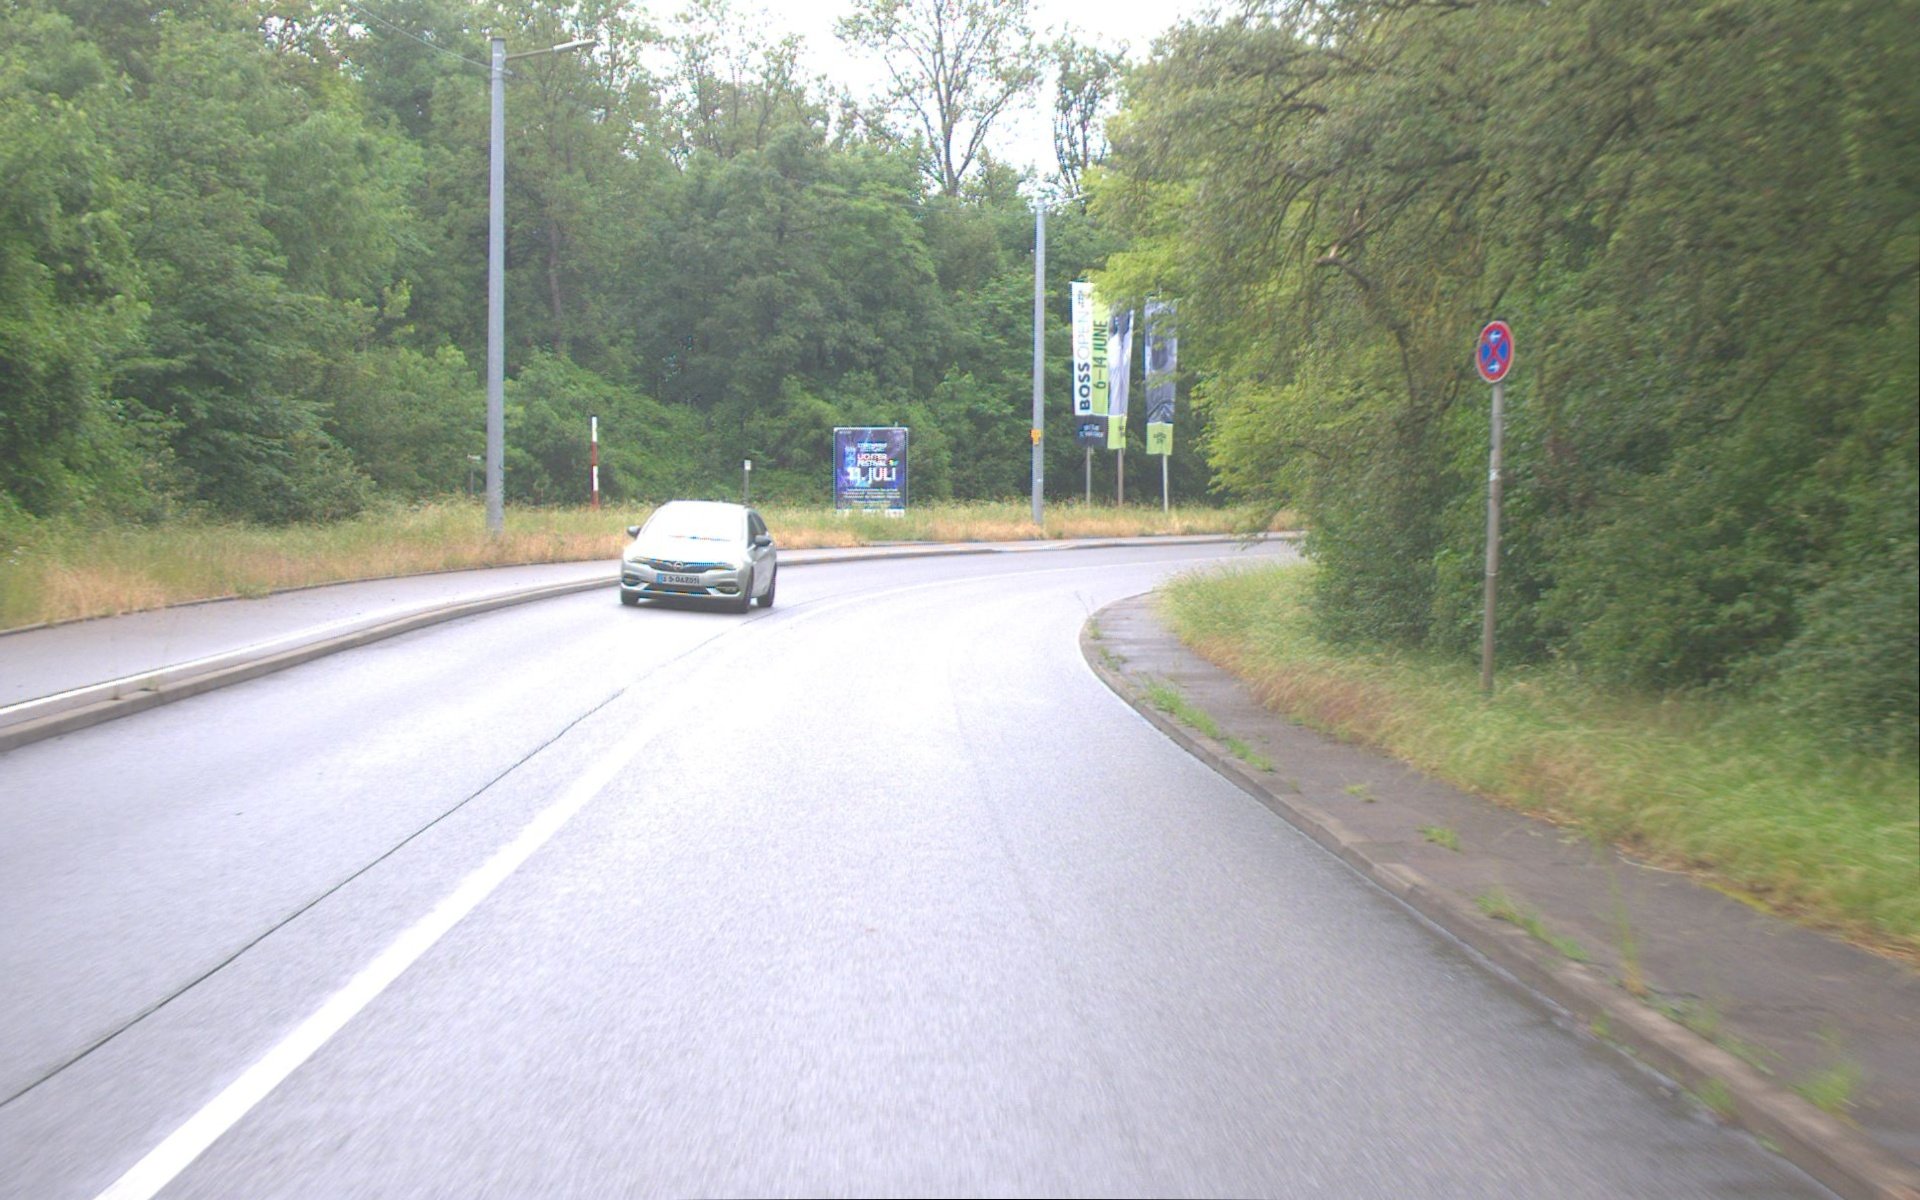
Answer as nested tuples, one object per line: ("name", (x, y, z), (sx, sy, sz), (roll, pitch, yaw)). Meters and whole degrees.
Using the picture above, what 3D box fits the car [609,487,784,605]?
("car", (-3.641, -0.798, 48.222), (1.780, 1.425, 4.475), (4, 3, 3))
